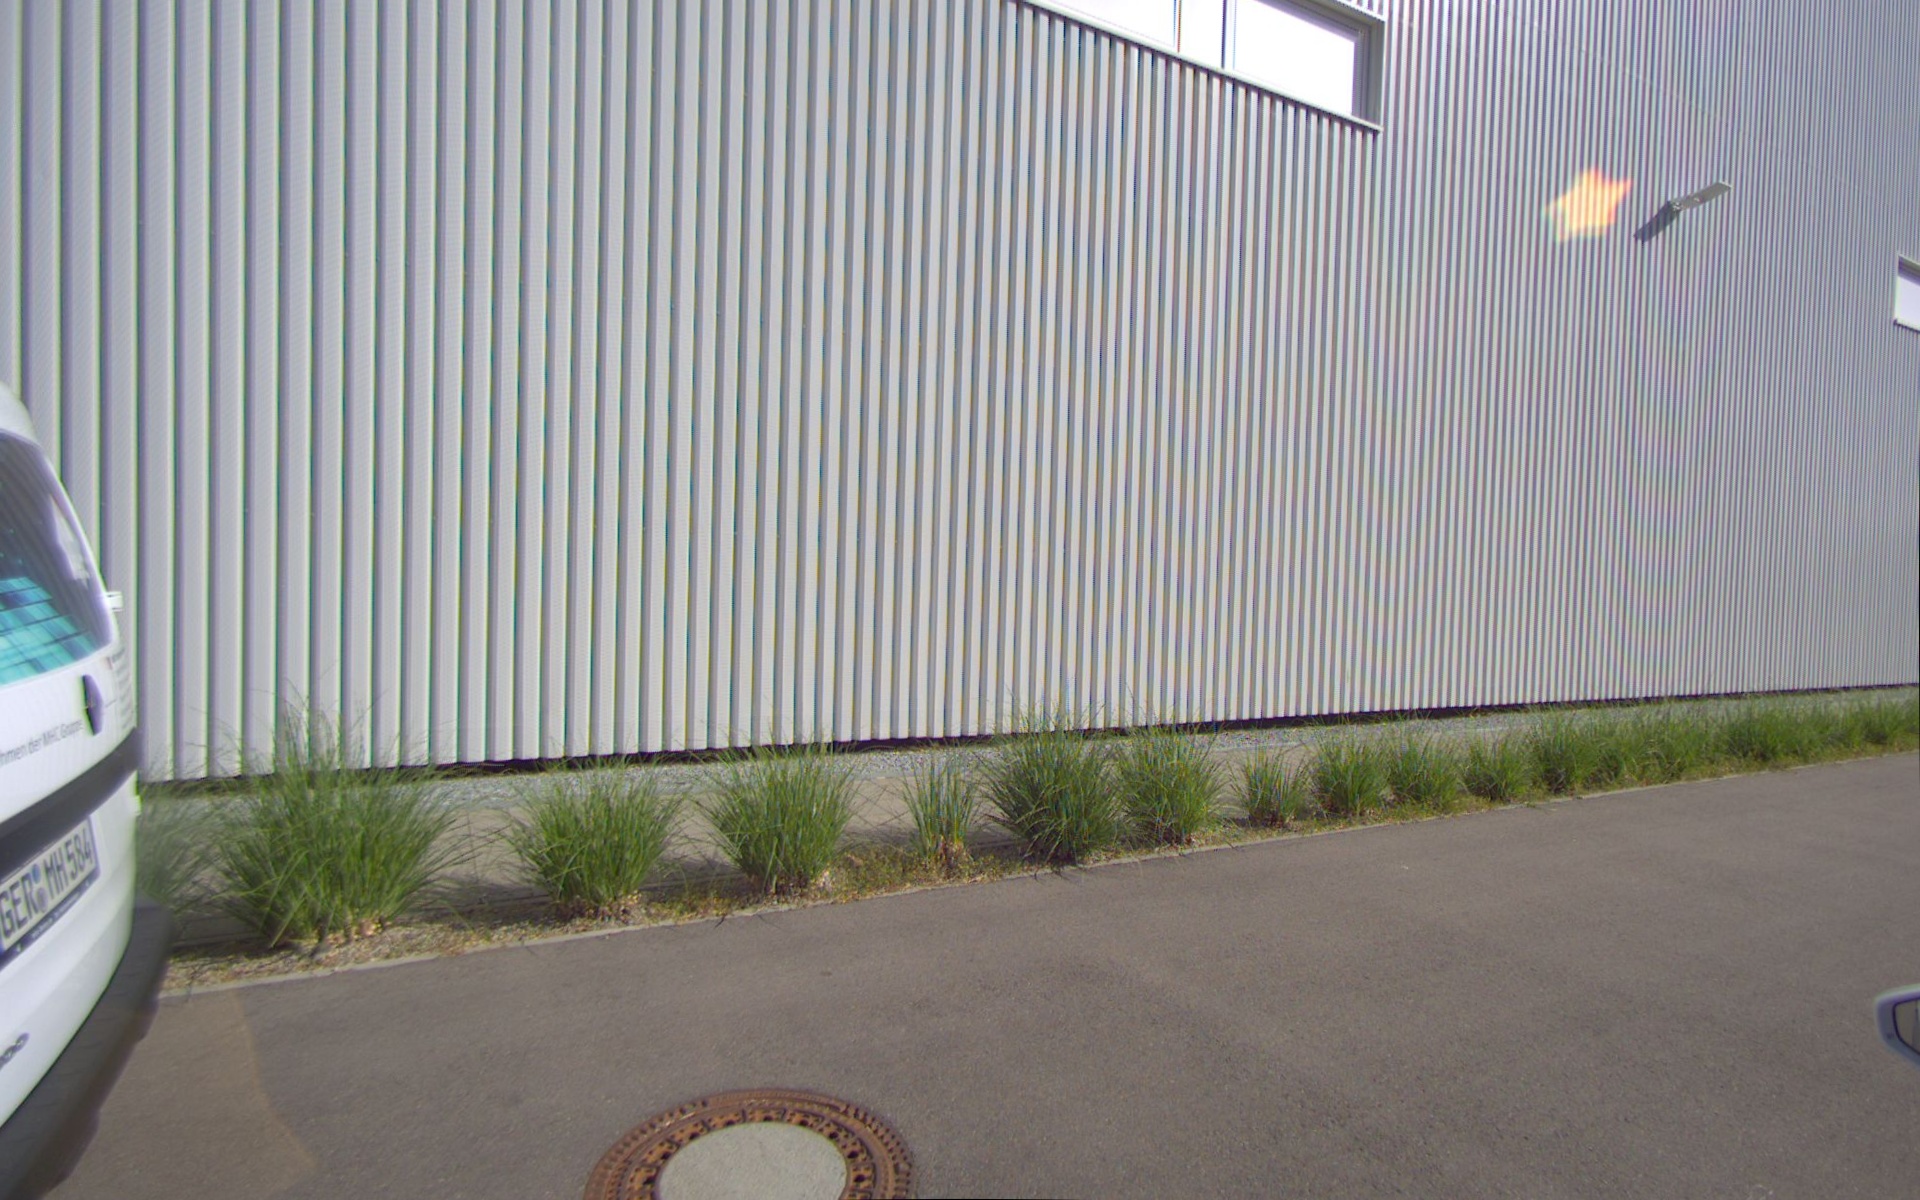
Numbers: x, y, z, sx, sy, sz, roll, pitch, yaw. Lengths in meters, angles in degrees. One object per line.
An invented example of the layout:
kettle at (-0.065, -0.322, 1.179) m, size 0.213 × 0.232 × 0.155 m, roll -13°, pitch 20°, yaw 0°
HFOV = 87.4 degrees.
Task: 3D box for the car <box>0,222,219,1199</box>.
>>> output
car at (-3.623, 0.333, 0.886) m, size 4.546 × 1.840 × 1.775 m, roll 2°, pitch 2°, yaw -30°
